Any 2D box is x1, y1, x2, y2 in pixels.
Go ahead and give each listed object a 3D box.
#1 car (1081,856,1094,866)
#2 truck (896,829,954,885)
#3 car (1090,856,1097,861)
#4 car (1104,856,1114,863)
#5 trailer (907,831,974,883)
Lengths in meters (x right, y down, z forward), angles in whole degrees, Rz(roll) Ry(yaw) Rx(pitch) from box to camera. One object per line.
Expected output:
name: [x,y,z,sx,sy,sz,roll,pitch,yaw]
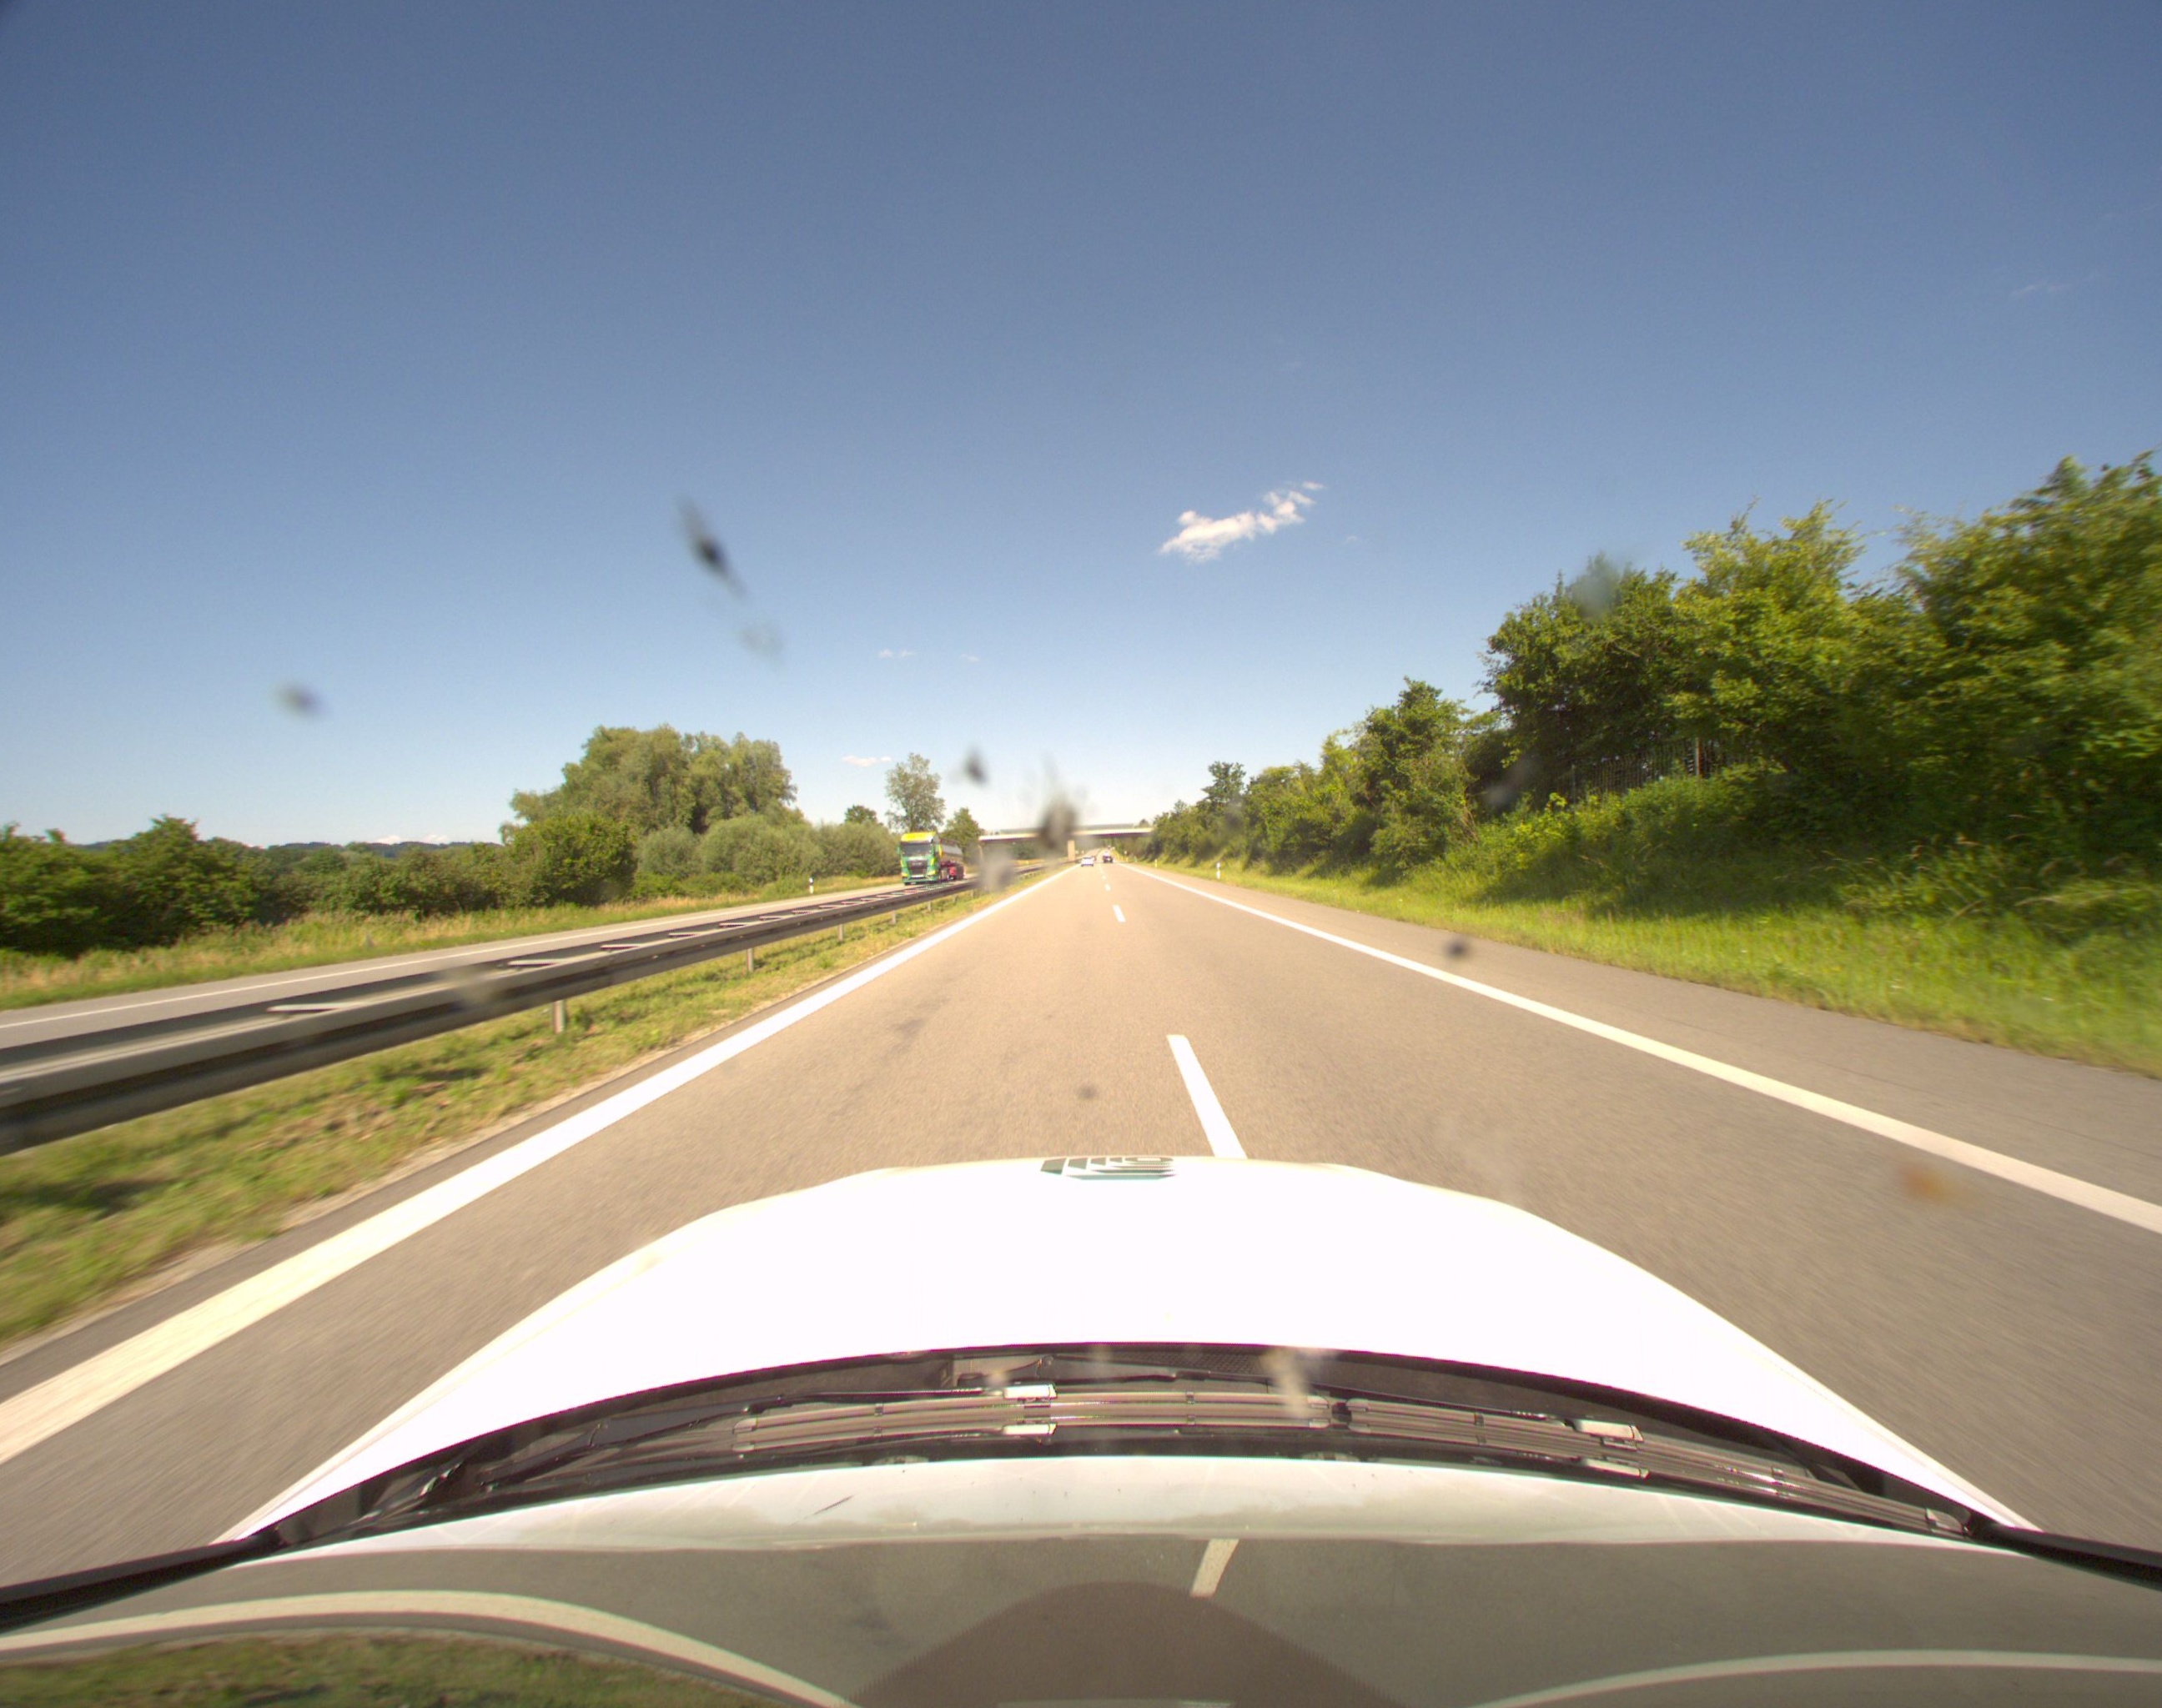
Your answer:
car: [0.895,1.058,118.153,1.836,1.415,4.000,0,0,1]
truck: [-11.354,0.236,59.707,2.945,3.731,5.568,-3,0,0]
car: [3.354,1.229,222.060,1.836,1.436,4.000,0,0,1]
car: [5.677,1.100,164.468,1.836,1.520,4.000,0,0,1]
trailer: [-11.228,0.264,66.482,2.970,3.731,12.420,-3,0,1]
